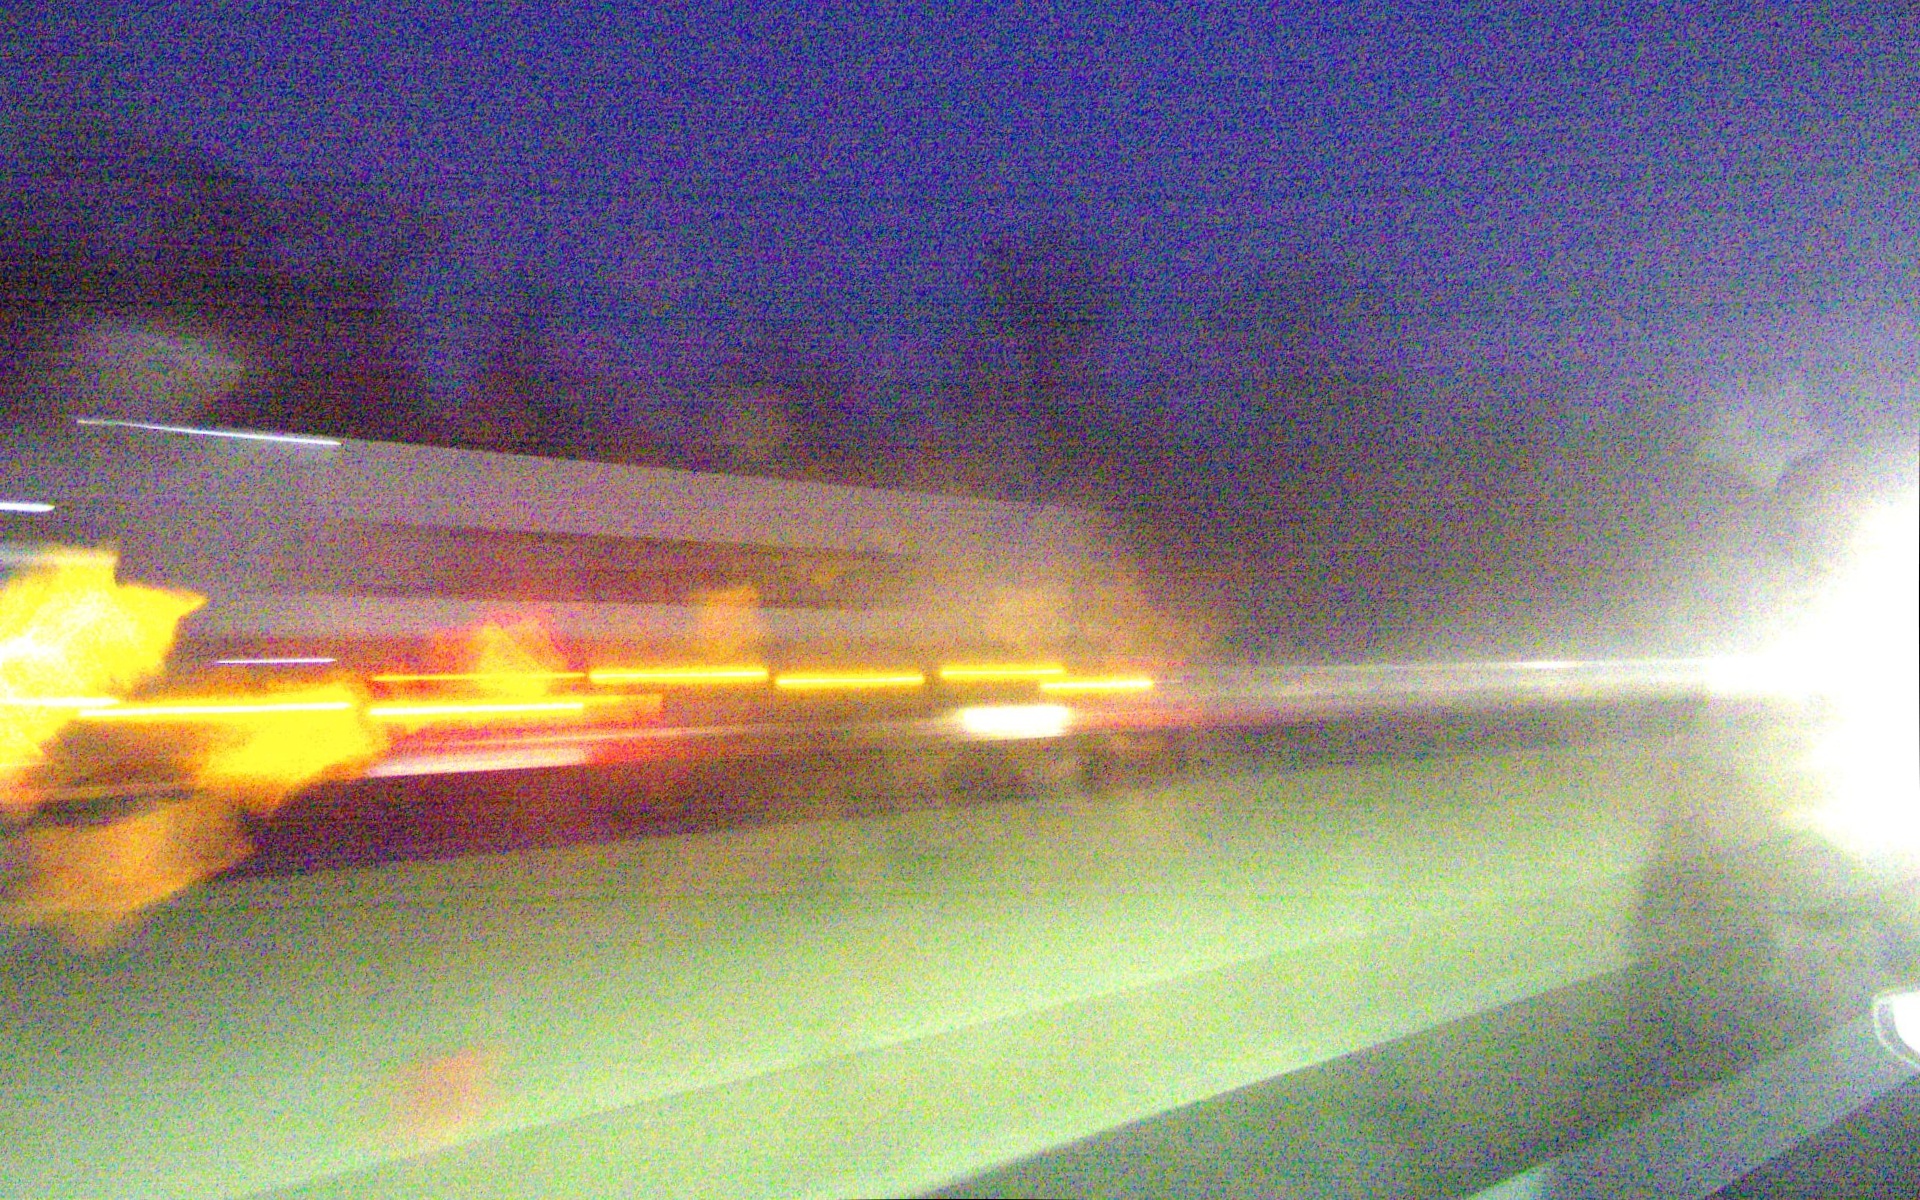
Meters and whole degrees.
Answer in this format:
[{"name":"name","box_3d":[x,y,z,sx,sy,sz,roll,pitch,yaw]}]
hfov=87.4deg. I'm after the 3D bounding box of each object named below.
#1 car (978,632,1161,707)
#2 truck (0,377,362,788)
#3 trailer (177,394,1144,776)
[{"name":"car","box_3d":[3.077,1.866,28.006,4.733,1.918,2.203,1,-2,-30]},{"name":"truck","box_3d":[-10.739,-0.130,12.030,6.012,4.349,3.040,1,-3,-30]},{"name":"trailer","box_3d":[-3.470,0.025,16.373,14.241,4.349,3.034,1,-3,-31]}]
